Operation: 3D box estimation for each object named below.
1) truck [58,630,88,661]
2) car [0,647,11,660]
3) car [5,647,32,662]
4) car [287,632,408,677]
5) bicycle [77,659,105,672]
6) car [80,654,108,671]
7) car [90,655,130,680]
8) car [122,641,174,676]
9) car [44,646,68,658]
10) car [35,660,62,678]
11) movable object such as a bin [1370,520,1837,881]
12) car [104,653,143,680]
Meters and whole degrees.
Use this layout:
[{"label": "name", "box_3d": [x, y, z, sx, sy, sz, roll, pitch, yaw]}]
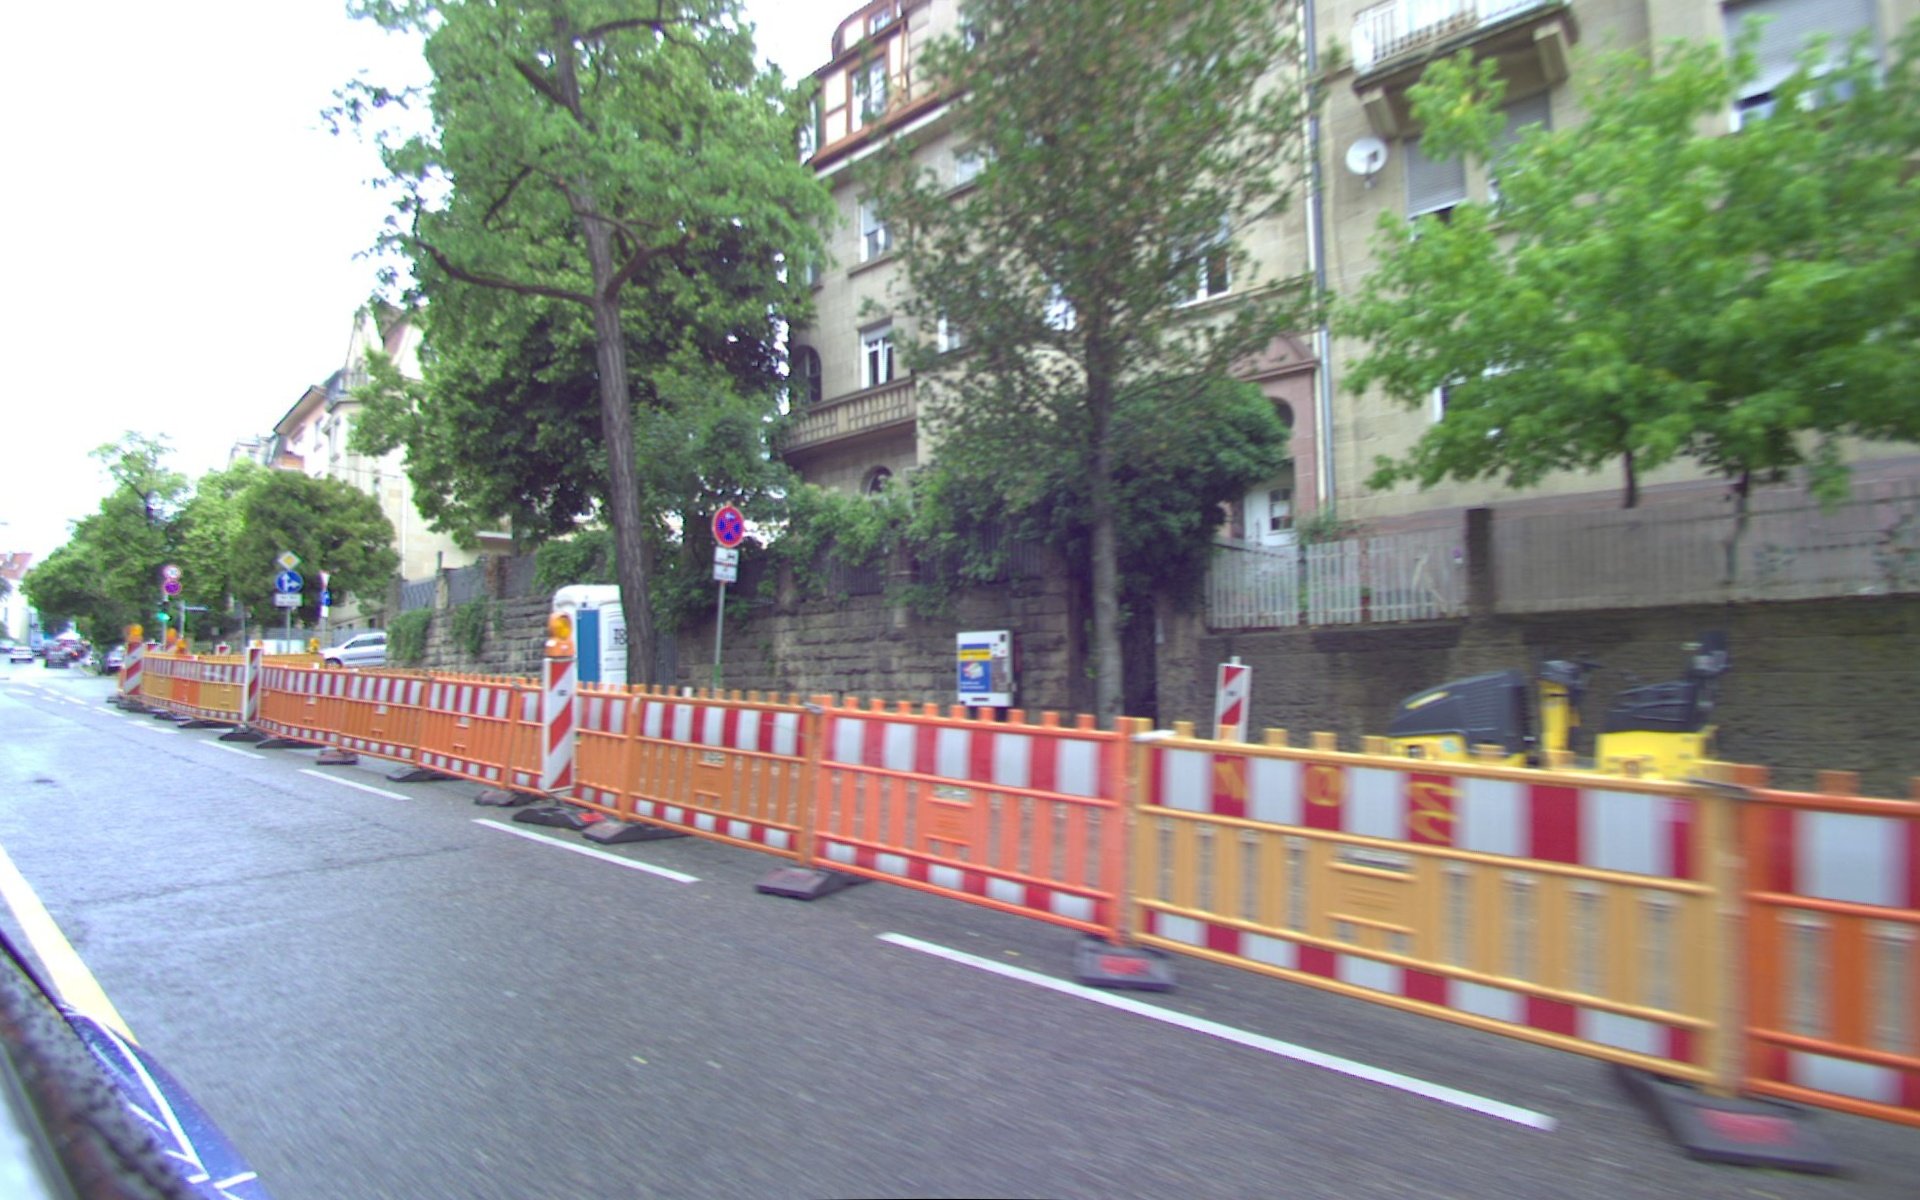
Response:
[{"label": "truck", "box_3d": [-115.841, 6.034, 132.248, 2.615, 3.884, 9.319, 5, -5, -41]}, {"label": "car", "box_3d": [-121.351, 6.723, 127.658, 1.896, 1.573, 4.020, 6, -6, -38]}, {"label": "car", "box_3d": [-96.740, 5.618, 104.041, 1.749, 1.529, 4.106, 3, -4, -39]}, {"label": "car", "box_3d": [-23.754, 2.076, 39.321, 3.812, 1.419, 1.830, -2, 1, -38]}, {"label": "bicycle", "box_3d": [-84.658, 6.418, 98.584, 1.952, 1.245, 0.658, 3, -4, -43]}, {"label": "car", "box_3d": [-82.631, 5.944, 96.522, 1.721, 1.571, 4.305, 0, -2, -44]}, {"label": "car", "box_3d": [-59.521, 4.721, 70.862, 4.304, 1.571, 1.722, -3, -1, 45]}, {"label": "car", "box_3d": [-39.479, 2.819, 49.144, 1.720, 1.571, 4.307, 0, -2, -42]}, {"label": "car", "box_3d": [-110.504, 6.356, 123.704, 1.689, 1.491, 4.123, 4, -5, -36]}, {"label": "car", "box_3d": [-87.440, 6.659, 97.051, 1.794, 1.529, 4.552, 5, -9, -43]}, {"label": "movable object such as a bin", "box_3d": [5.146, 0.724, 8.218, 2.816, 2.317, 1.971, -3, -4, 45]}, {"label": "car", "box_3d": [-53.720, 4.238, 64.949, 1.720, 1.571, 4.307, 0, -2, -42]}]
